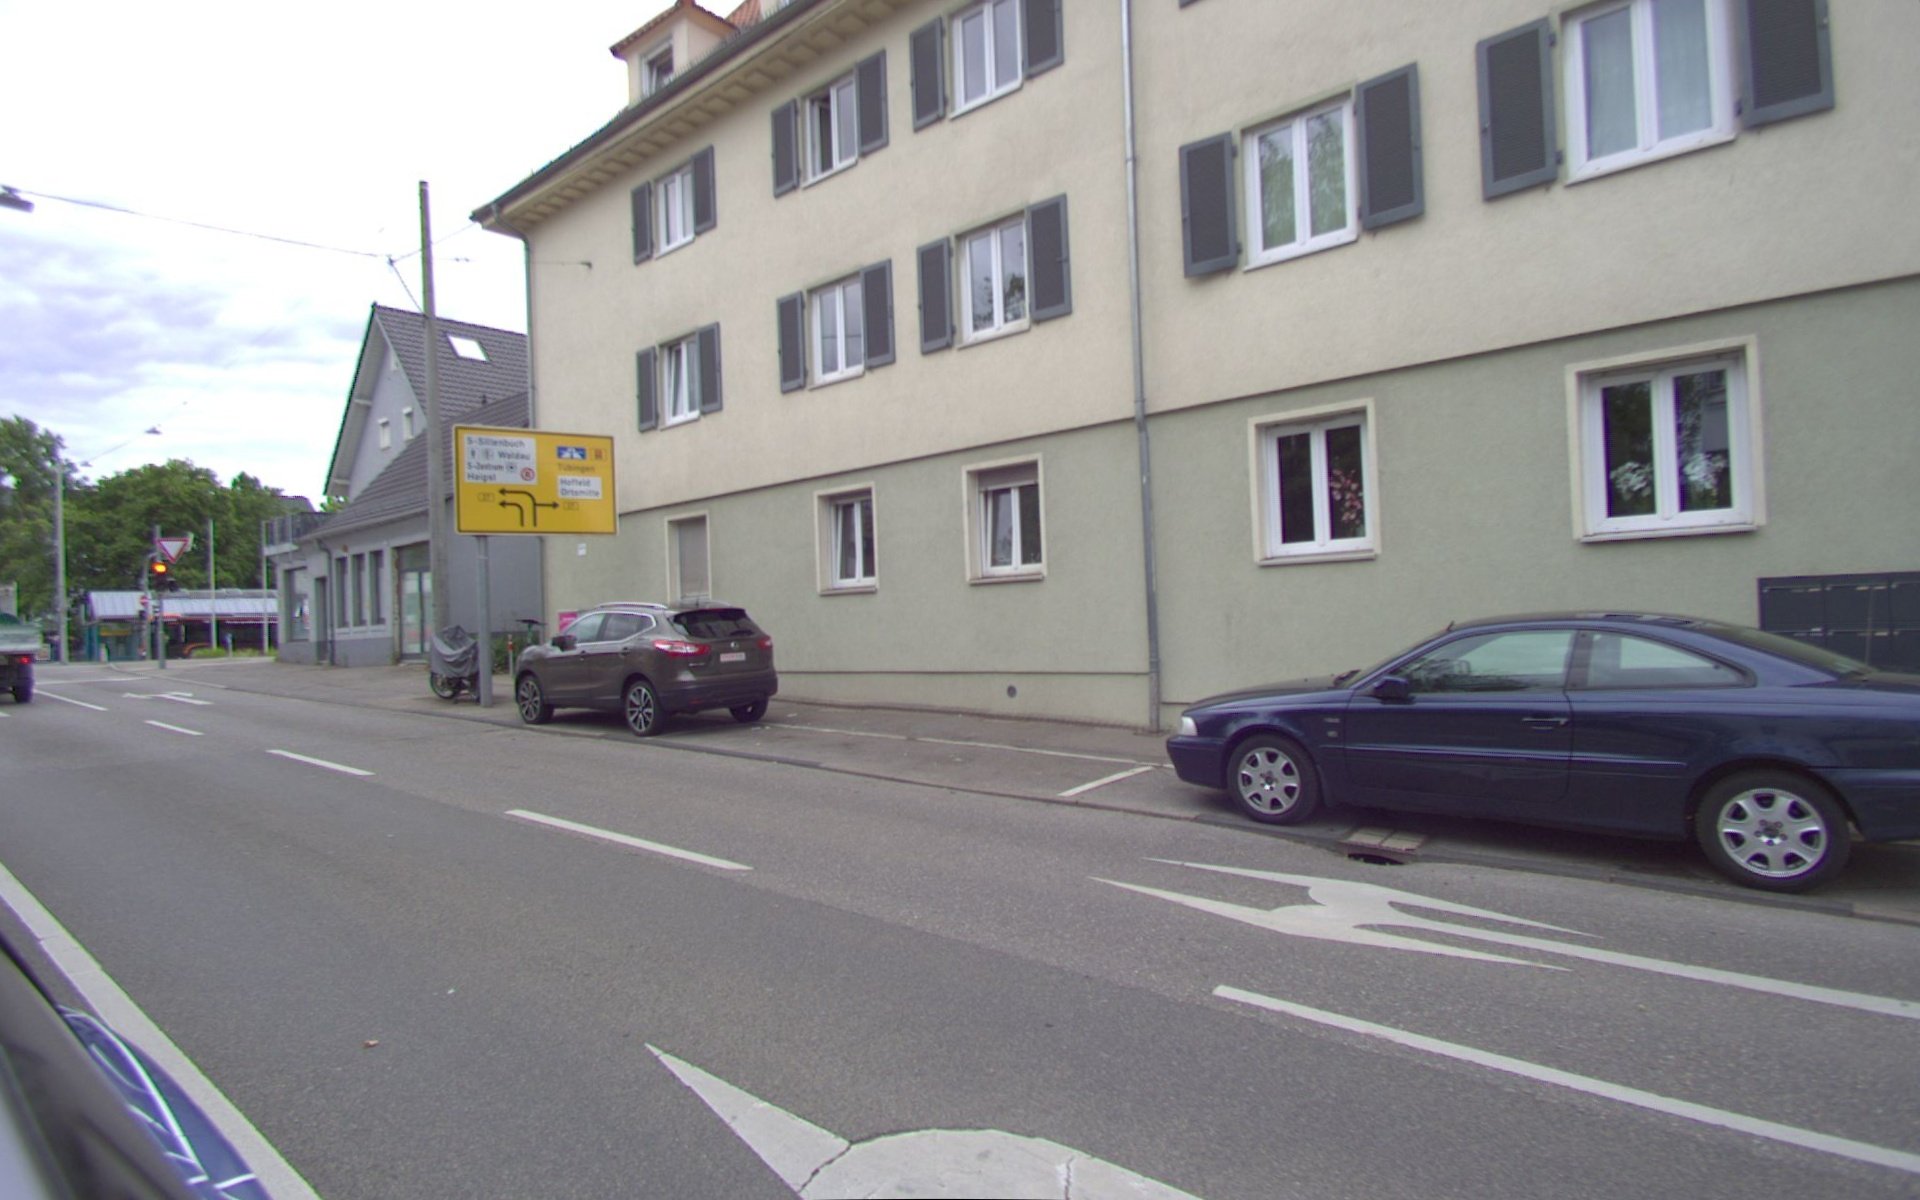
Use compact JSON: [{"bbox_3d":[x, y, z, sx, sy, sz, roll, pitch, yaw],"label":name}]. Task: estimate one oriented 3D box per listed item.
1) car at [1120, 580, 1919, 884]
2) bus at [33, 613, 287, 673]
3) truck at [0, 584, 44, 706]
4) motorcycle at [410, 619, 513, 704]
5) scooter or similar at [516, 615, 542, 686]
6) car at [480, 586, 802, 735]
[{"bbox_3d":[3.583,0.645,6.542,4.842,1.414,1.693,-2,0,40],"label":"car"},{"bbox_3d":[-47.245,2.447,60.309,2.000,3.086,11.688,-5,-3,43],"label":"bus"},{"bbox_3d":[-20.298,0.911,20.281,6.586,2.218,2.099,-2,0,41],"label":"truck"},{"bbox_3d":[-8.317,0.995,16.839,2.227,1.300,0.619,-2,1,39],"label":"motorcycle"},{"bbox_3d":[-8.148,0.935,19.115,0.351,1.274,0.989,-2,1,-26],"label":"scooter or similar"},{"bbox_3d":[-4.410,0.729,13.595,4.691,1.645,1.804,-2,0,39],"label":"car"}]
